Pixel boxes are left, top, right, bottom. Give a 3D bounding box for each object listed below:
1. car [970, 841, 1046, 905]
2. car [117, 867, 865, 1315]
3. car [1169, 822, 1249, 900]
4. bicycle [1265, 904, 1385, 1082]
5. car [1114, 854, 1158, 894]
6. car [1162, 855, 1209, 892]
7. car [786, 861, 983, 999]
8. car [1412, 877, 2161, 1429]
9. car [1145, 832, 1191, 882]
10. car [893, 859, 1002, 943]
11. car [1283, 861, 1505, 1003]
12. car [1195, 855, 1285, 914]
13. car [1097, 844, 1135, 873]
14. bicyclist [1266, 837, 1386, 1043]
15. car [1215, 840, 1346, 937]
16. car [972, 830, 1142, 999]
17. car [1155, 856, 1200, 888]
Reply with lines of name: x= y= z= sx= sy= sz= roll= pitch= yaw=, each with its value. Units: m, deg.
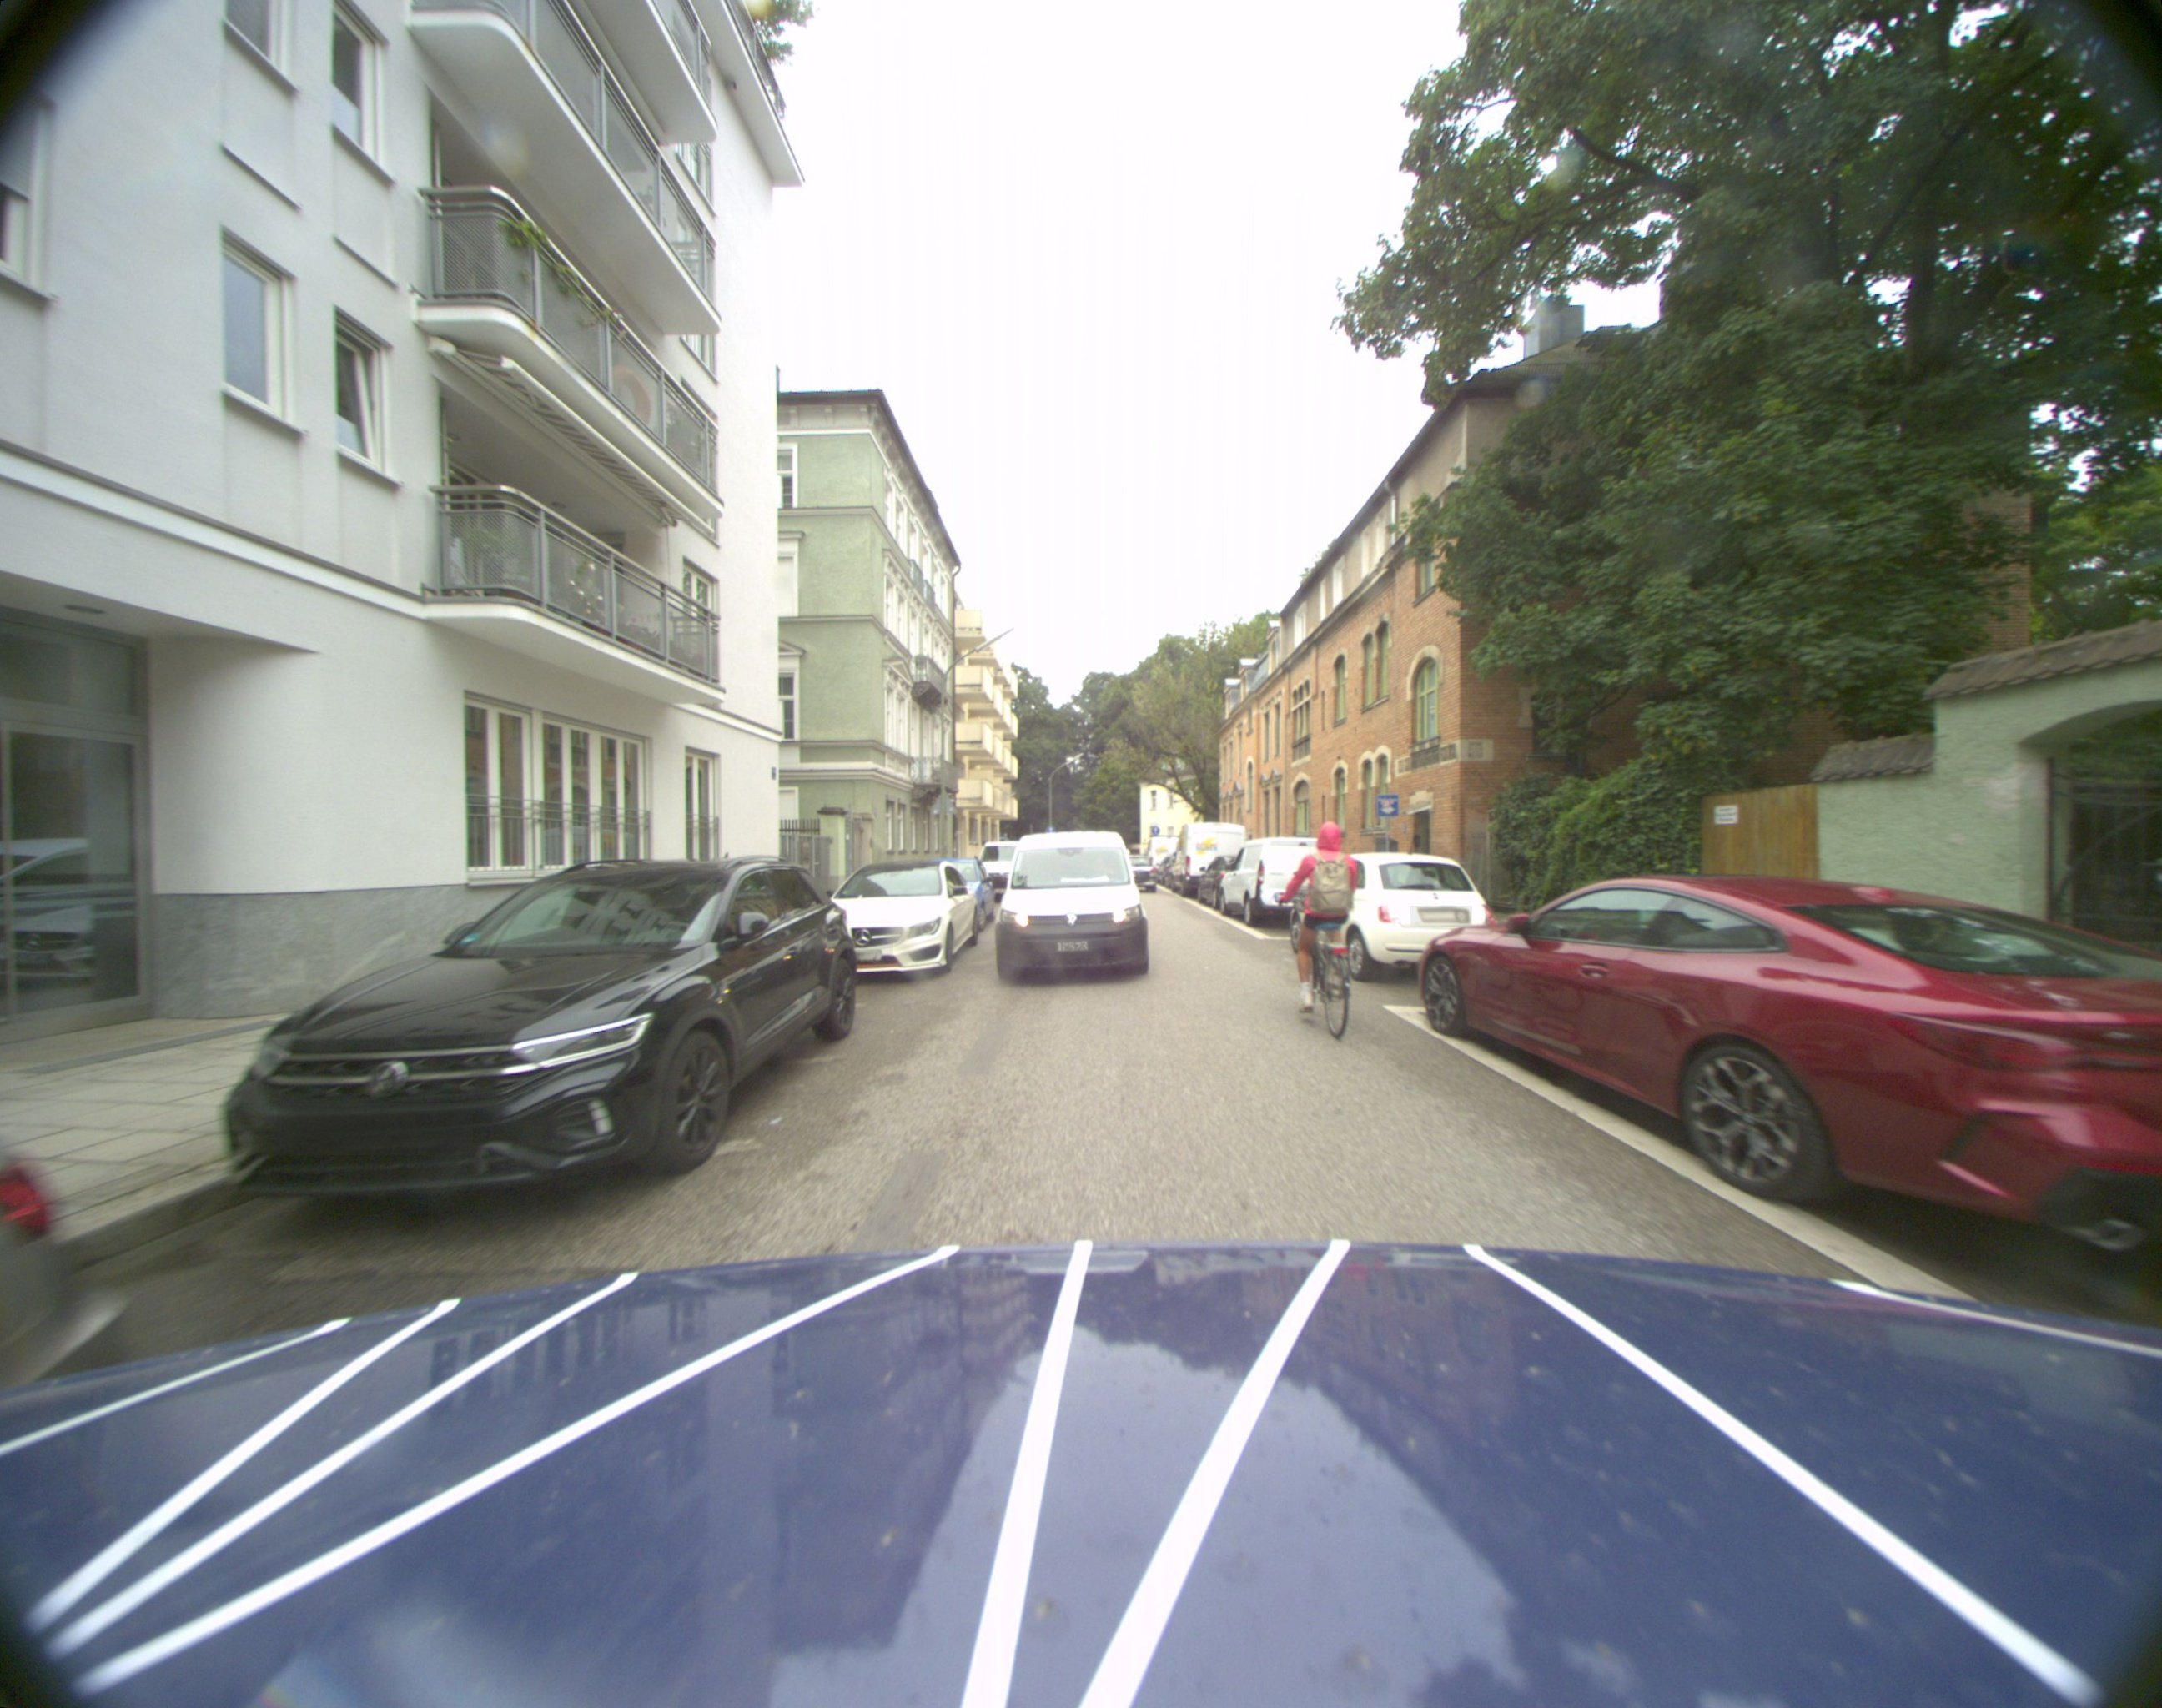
car: x=-2.364 y=0.583 z=25.635 sx=1.858 sy=1.885 sz=4.592 roll=-3 pitch=0 yaw=2
car: x=-2.783 y=0.929 z=4.860 sx=1.608 sy=1.521 sz=3.983 roll=-3 pitch=1 yaw=0
car: x=4.369 y=0.201 z=26.785 sx=1.986 sy=2.464 sz=5.223 roll=1 pitch=1 yaw=1
bicycle: x=1.931 y=1.035 z=6.241 sx=0.505 sy=1.122 sz=1.773 roll=1 pitch=0 yaw=4
car: x=2.092 y=0.725 z=29.590 sx=1.585 sy=1.403 sz=3.612 roll=0 pitch=1 yaw=2
car: x=4.370 y=0.775 z=32.294 sx=1.526 sy=1.434 sz=3.541 roll=1 pitch=0 yaw=1
car: x=-2.520 y=0.893 z=10.802 sx=1.662 sy=1.431 sz=4.206 roll=-3 pitch=1 yaw=0
car: x=3.813 y=0.961 z=4.378 sx=1.865 sy=1.404 sz=4.332 roll=1 pitch=1 yaw=0
car: x=4.801 y=0.174 z=42.537 sx=2.118 sy=2.525 sz=4.421 roll=2 pitch=0 yaw=2
car: x=-2.646 y=0.883 z=15.783 sx=1.623 sy=1.404 sz=3.552 roll=-3 pitch=1 yaw=-1
car: x=3.828 y=0.863 z=9.883 sx=1.477 sy=1.458 sz=3.313 roll=1 pitch=1 yaw=-1
car: x=4.306 y=0.766 z=21.171 sx=1.694 sy=1.434 sz=4.145 roll=1 pitch=0 yaw=1
car: x=2.262 y=0.286 z=50.336 sx=1.777 sy=1.793 sz=4.569 roll=-2 pitch=0 yaw=-6
bicyclist: x=1.974 y=0.646 z=6.242 sx=0.695 sy=1.552 sz=0.967 roll=1 pitch=1 yaw=3
car: x=4.104 y=0.636 z=16.322 sx=1.694 sy=1.793 sz=4.145 roll=1 pitch=0 yaw=0
car: x=-0.181 y=0.637 z=10.109 sx=1.776 sy=1.761 sz=4.000 roll=-2 pitch=0 yaw=2
car: x=4.647 y=0.850 z=37.054 sx=1.694 sy=1.434 sz=3.984 roll=1 pitch=0 yaw=1
